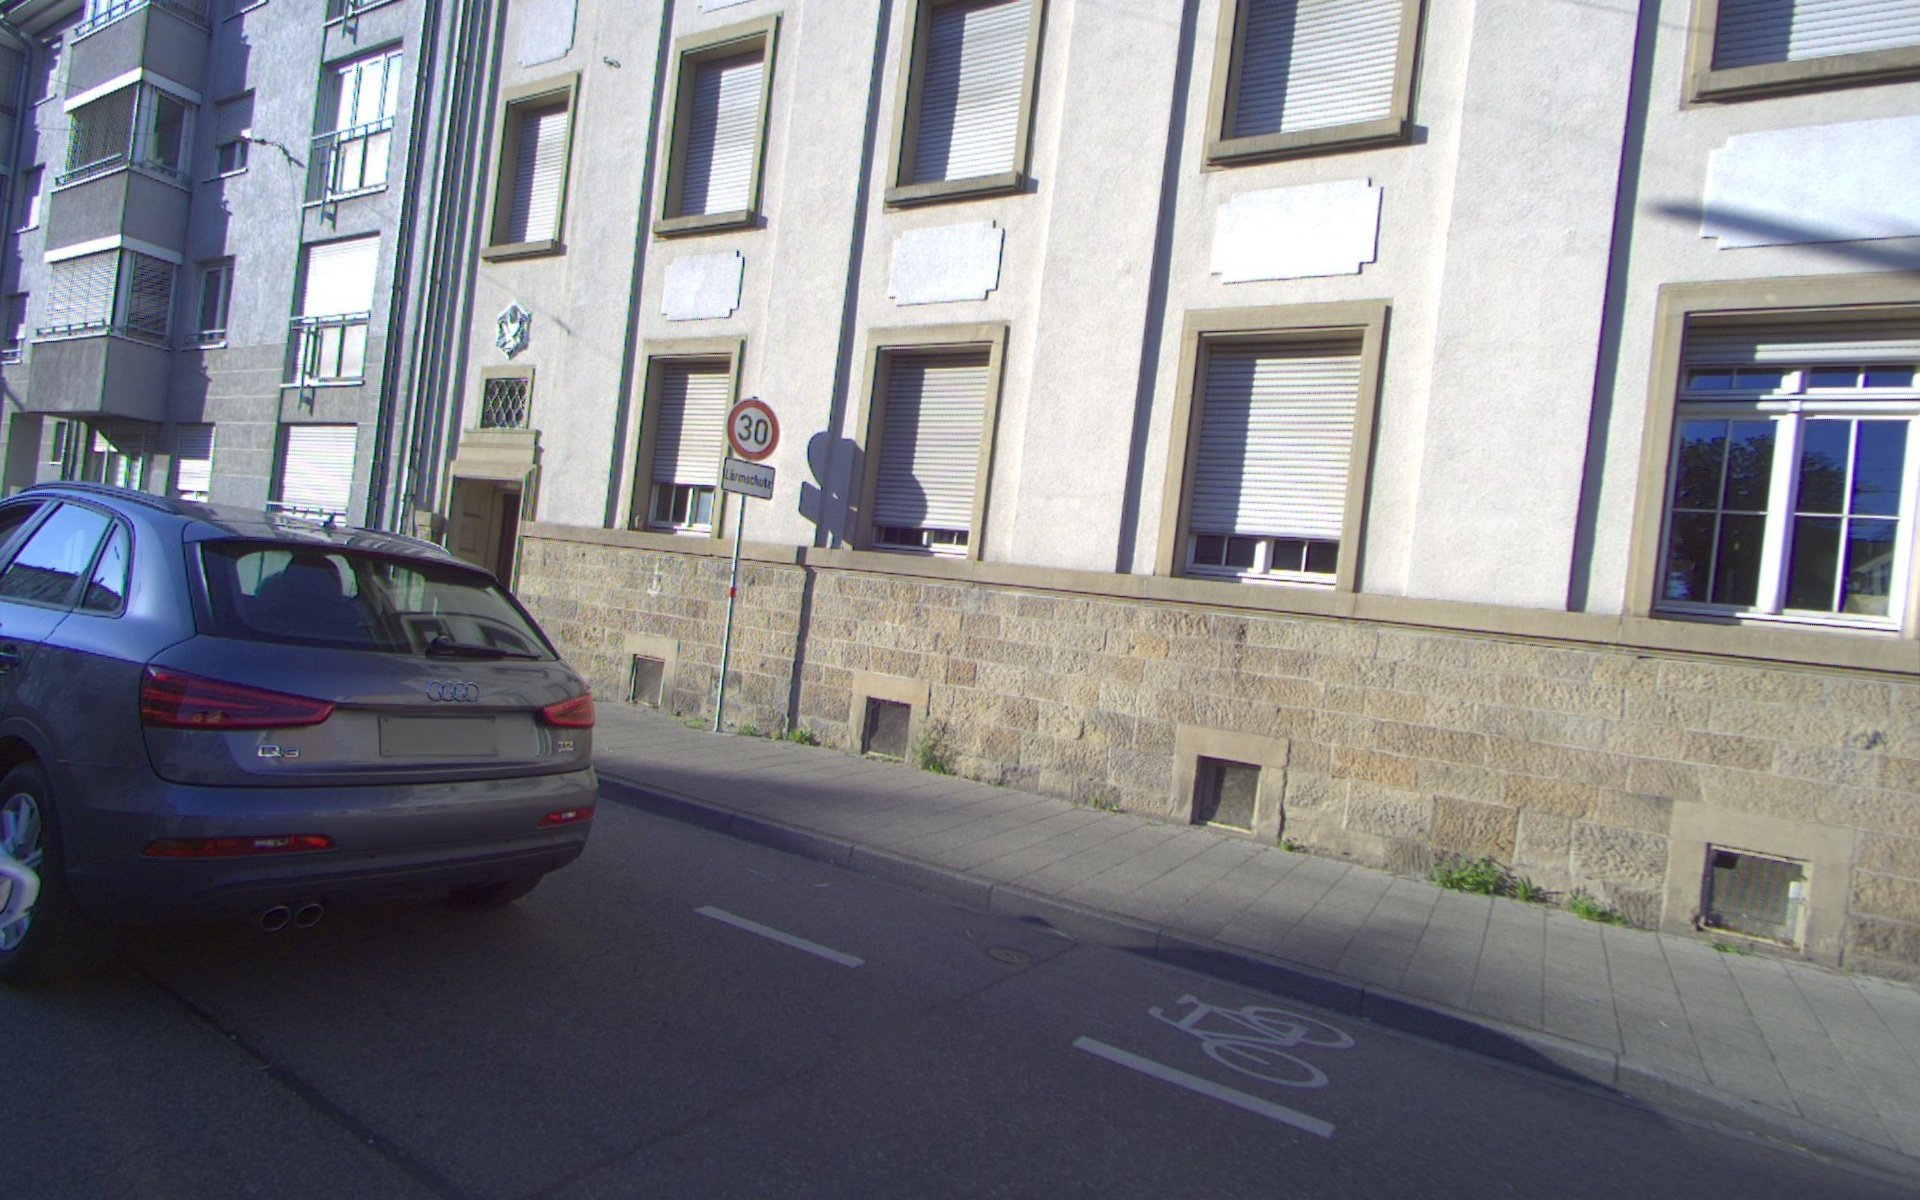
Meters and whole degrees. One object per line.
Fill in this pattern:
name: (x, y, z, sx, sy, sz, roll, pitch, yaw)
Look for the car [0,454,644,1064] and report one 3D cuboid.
car: (-3.548, 0.344, 4.412, 4.156, 1.570, 1.701, 5, -3, 32)
